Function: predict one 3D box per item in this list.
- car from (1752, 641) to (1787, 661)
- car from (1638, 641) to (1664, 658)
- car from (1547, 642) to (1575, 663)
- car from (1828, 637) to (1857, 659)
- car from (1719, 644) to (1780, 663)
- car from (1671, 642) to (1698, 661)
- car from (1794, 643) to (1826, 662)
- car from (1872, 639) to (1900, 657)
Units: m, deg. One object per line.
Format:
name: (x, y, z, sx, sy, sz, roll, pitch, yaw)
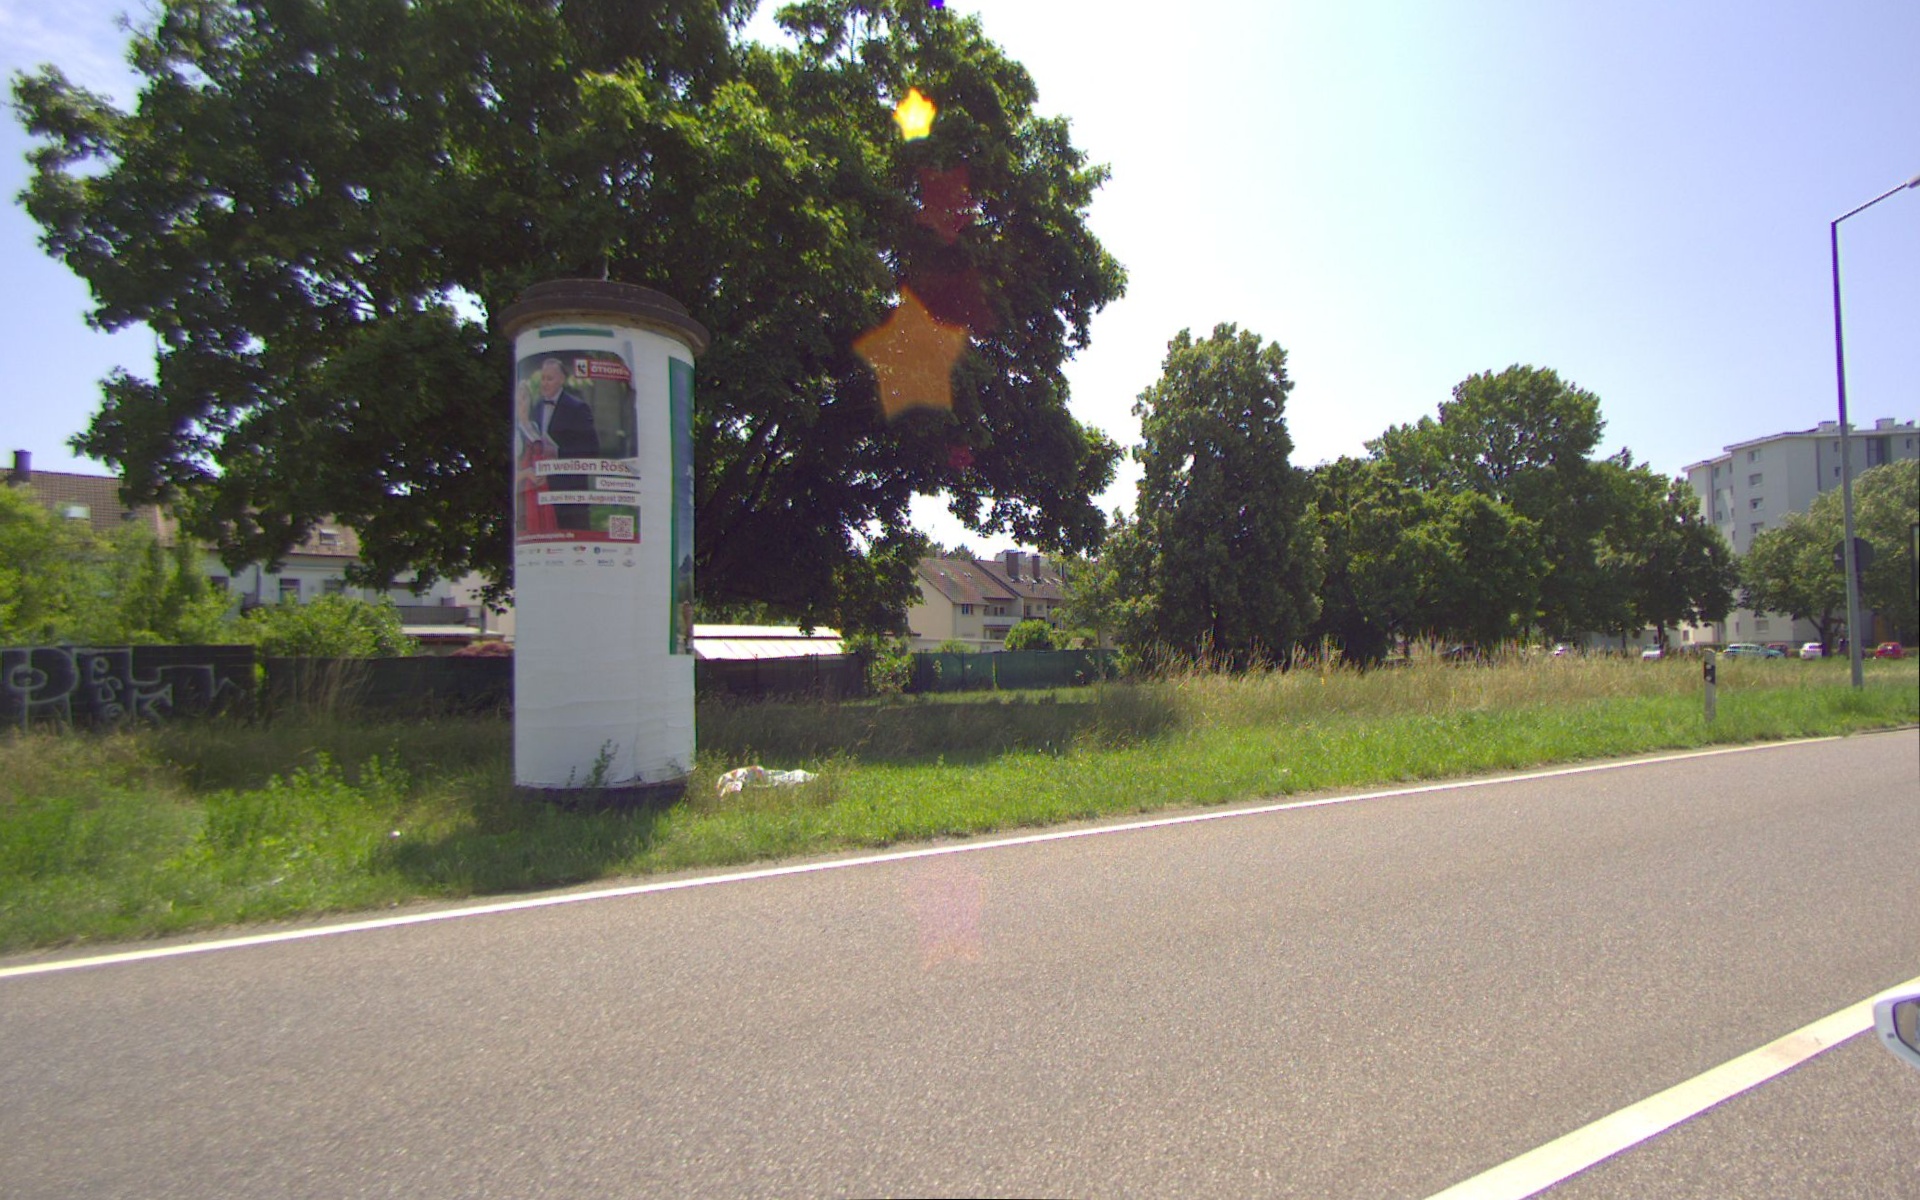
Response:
car: (72.144, 4.544, 89.610, 1.820, 1.690, 3.992, -2, -4, 31)
car: (65.455, 4.682, 95.104, 1.668, 1.582, 3.821, -3, -4, 39)
car: (59.273, 5.158, 99.100, 1.824, 1.973, 3.983, -2, -2, 39)
car: (75.777, 4.073, 86.278, 1.684, 1.824, 3.983, -2, -2, 39)
car: (64.571, 4.359, 82.260, 3.836, 1.488, 1.769, -3, -3, 37)
car: (67.361, 4.749, 93.366, 1.824, 1.733, 3.983, -2, -2, 39)
car: (74.216, 4.544, 87.731, 1.681, 1.613, 3.988, -1, -2, 34)
car: (77.802, 4.012, 84.391, 1.601, 1.483, 3.974, -2, -3, 45)
